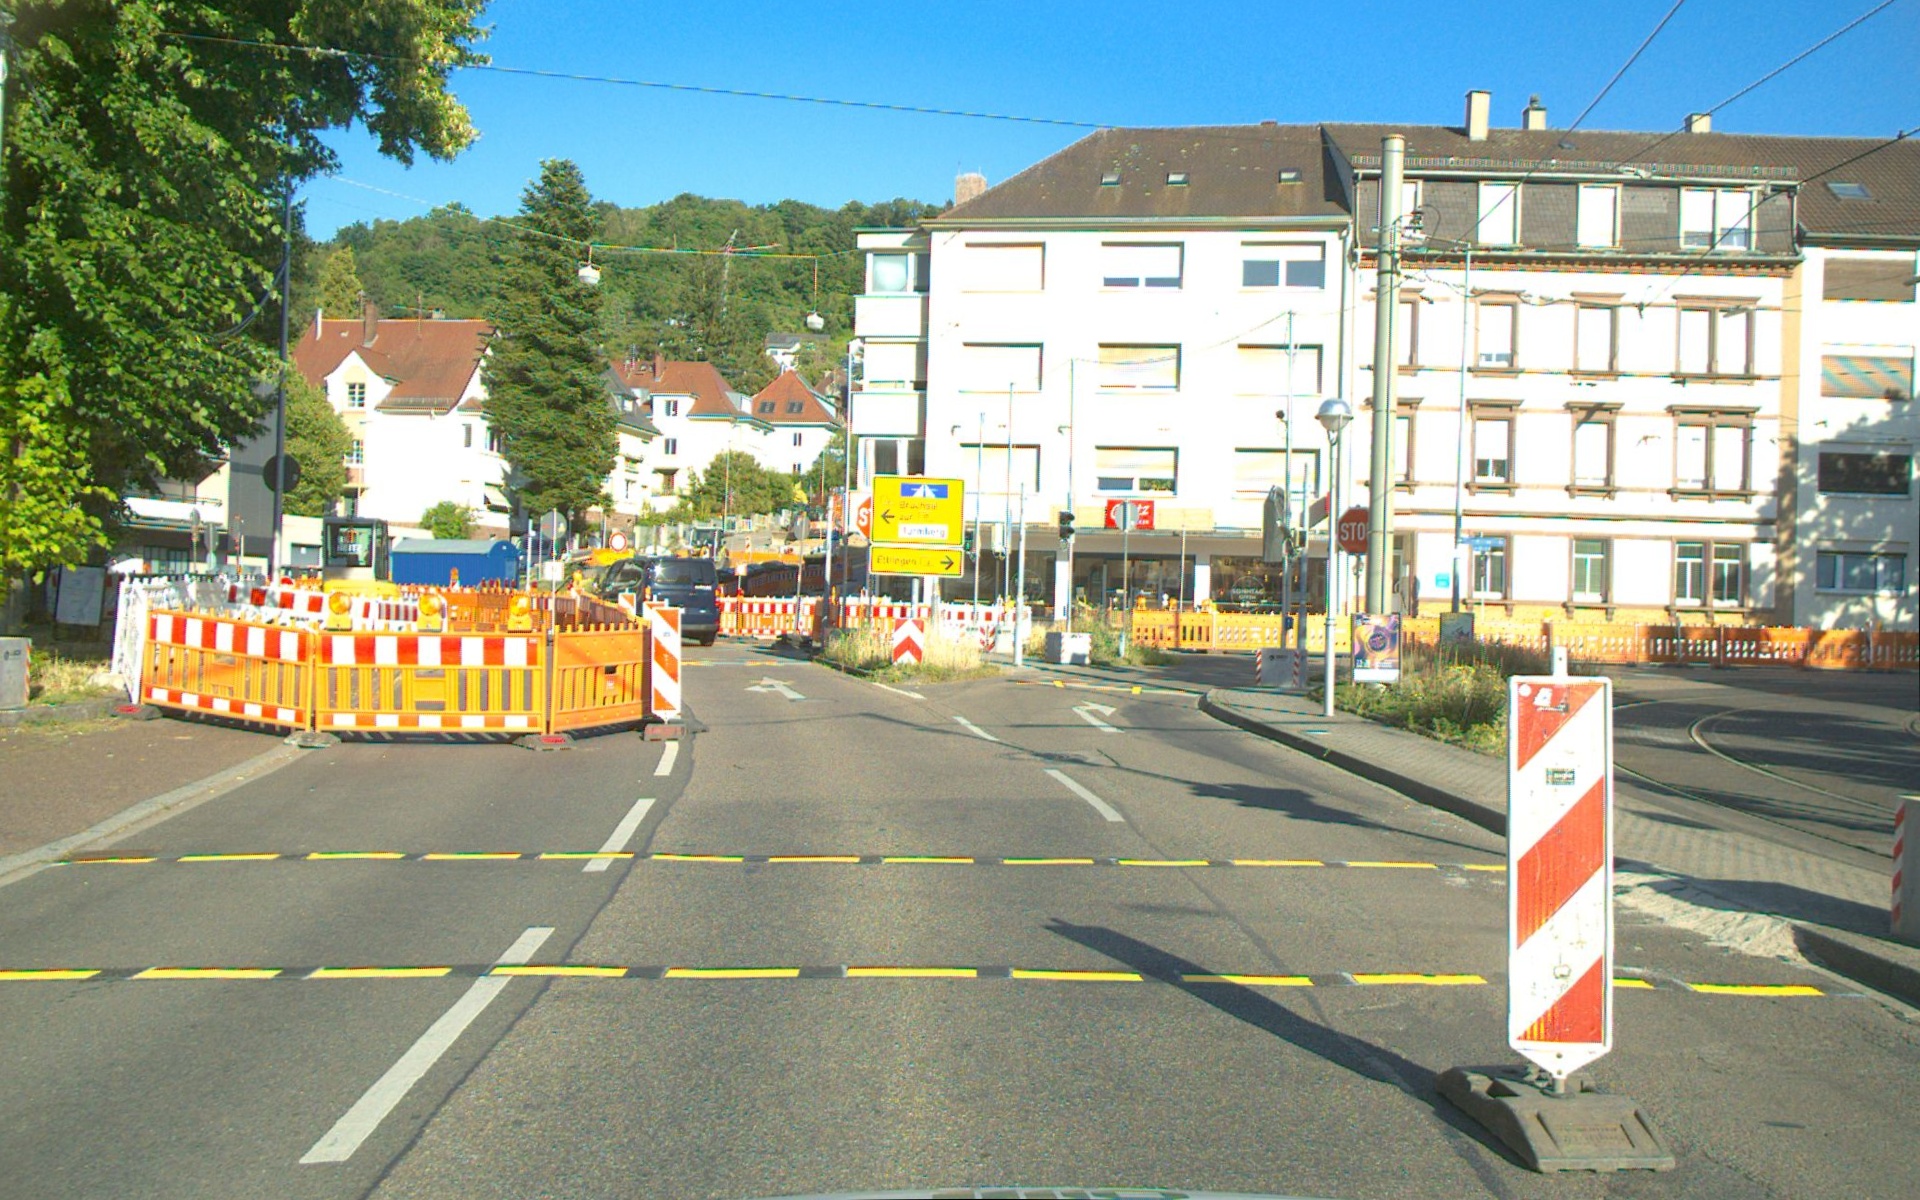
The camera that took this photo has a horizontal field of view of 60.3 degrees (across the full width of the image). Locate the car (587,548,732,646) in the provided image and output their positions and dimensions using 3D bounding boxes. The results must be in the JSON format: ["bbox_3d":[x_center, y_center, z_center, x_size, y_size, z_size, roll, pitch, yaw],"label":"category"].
[{"bbox_3d":[-7.118,-0.128,38.739,2.036,2.048,4.959,2,2,-26],"label":"car"}]

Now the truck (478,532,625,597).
[{"bbox_3d":[-16.792,-1.397,68.744,2.306,2.458,9.159,1,0,10],"label":"truck"}]

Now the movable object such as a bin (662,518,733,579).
[{"bbox_3d":[-12.606,-2.441,79.591,2.144,2.737,4.003,1,0,9],"label":"movable object such as a bin"}]

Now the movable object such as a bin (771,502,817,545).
[{"bbox_3d":[-11.411,-5.278,113.969,2.144,2.737,4.003,1,0,9],"label":"movable object such as a bin"}]
